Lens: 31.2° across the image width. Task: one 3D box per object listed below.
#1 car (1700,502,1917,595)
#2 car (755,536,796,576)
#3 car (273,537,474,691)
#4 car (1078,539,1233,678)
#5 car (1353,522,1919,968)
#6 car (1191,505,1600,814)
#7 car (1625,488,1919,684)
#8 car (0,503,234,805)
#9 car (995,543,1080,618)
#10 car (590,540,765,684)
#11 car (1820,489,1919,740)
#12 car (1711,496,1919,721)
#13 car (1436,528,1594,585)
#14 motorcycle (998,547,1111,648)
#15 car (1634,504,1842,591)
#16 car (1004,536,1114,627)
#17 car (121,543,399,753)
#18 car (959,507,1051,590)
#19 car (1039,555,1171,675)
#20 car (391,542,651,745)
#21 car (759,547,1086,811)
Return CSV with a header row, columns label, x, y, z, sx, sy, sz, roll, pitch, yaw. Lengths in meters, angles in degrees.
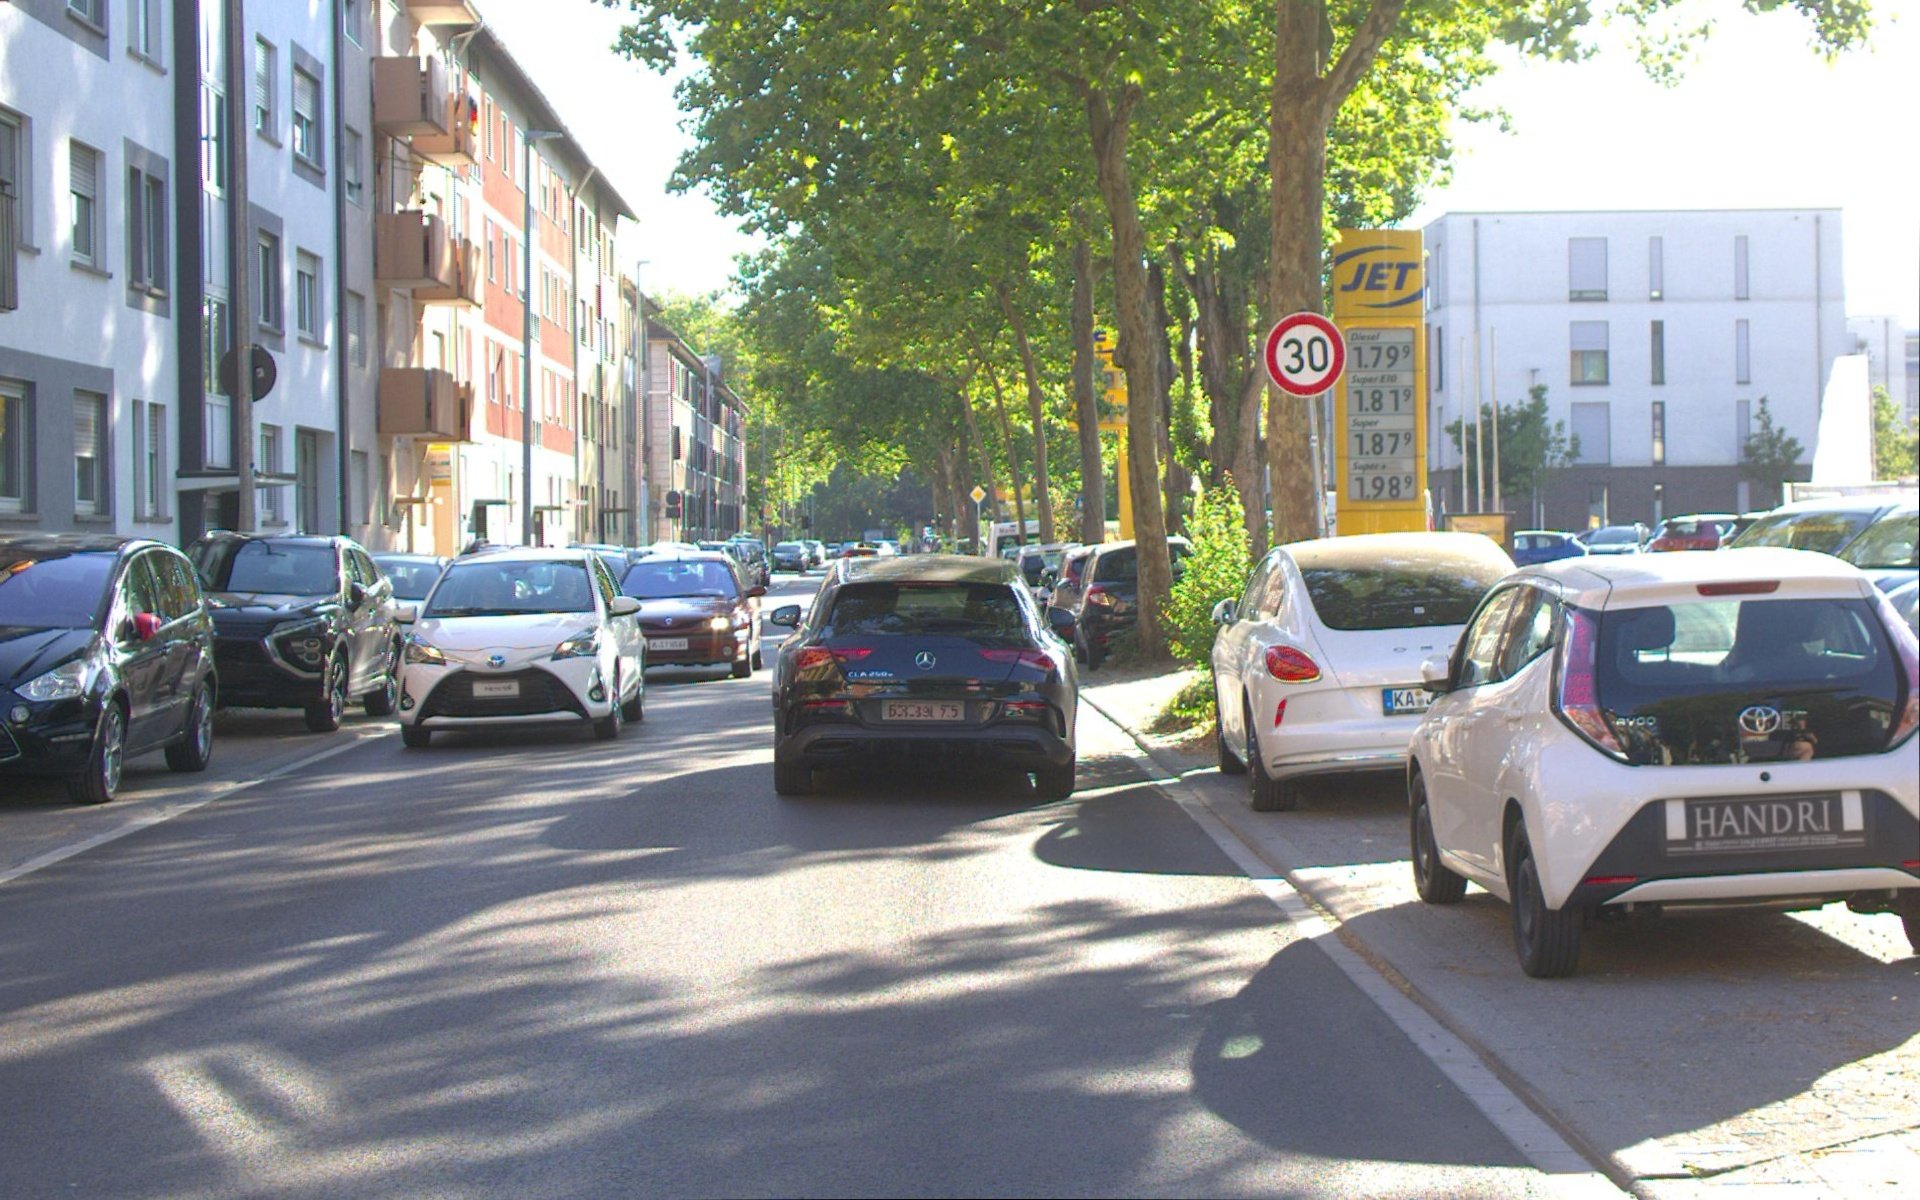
label,x,y,z,sx,sy,sz,roll,pitch,yaw
car,16.619,-1.004,67.324,3.825,1.706,1.841,-2,1,-27
car,-9.135,-2.174,170.265,1.907,1.941,4.000,0,0,-1
car,-6.201,0.109,36.684,1.547,1.518,4.005,1,1,-2
car,2.344,0.084,41.917,1.559,1.590,3.601,1,0,-2
car,2.698,0.475,13.736,1.635,1.463,4.021,-2,0,-1
car,2.464,0.297,20.538,1.810,1.533,4.583,-3,0,1
car,7.809,-0.173,30.207,3.808,1.573,1.746,-3,2,-37
car,-6.090,0.264,22.631,1.745,1.781,4.550,1,1,-2
car,1.633,-0.424,73.461,1.633,1.552,3.601,1,0,-2
car,-3.241,0.091,40.145,1.663,1.518,4.412,-2,1,0
car,7.754,0.021,23.116,3.808,1.604,1.741,-3,2,-35
car,7.678,-0.010,26.192,3.808,1.573,1.741,-3,2,-37
car,15.179,-1.188,94.163,3.986,1.524,1.807,0,0,-2
motorcycle,1.488,-0.043,54.010,1.641,1.552,0.612,1,0,-22
car,16.318,-1.111,72.154,3.824,1.706,1.841,-2,1,-18
car,1.736,-0.338,61.238,1.722,1.552,3.601,1,0,-2
car,-5.965,0.347,29.726,1.596,1.635,4.413,1,1,-2
car,1.108,-1.272,86.511,1.993,2.007,4.000,0,0,-4
car,1.977,0.184,47.751,1.559,1.590,3.601,1,0,-2
car,-3.498,0.292,27.971,1.639,1.518,3.934,0,1,0
car,-0.144,0.415,21.409,1.744,1.438,3.969,1,1,3
